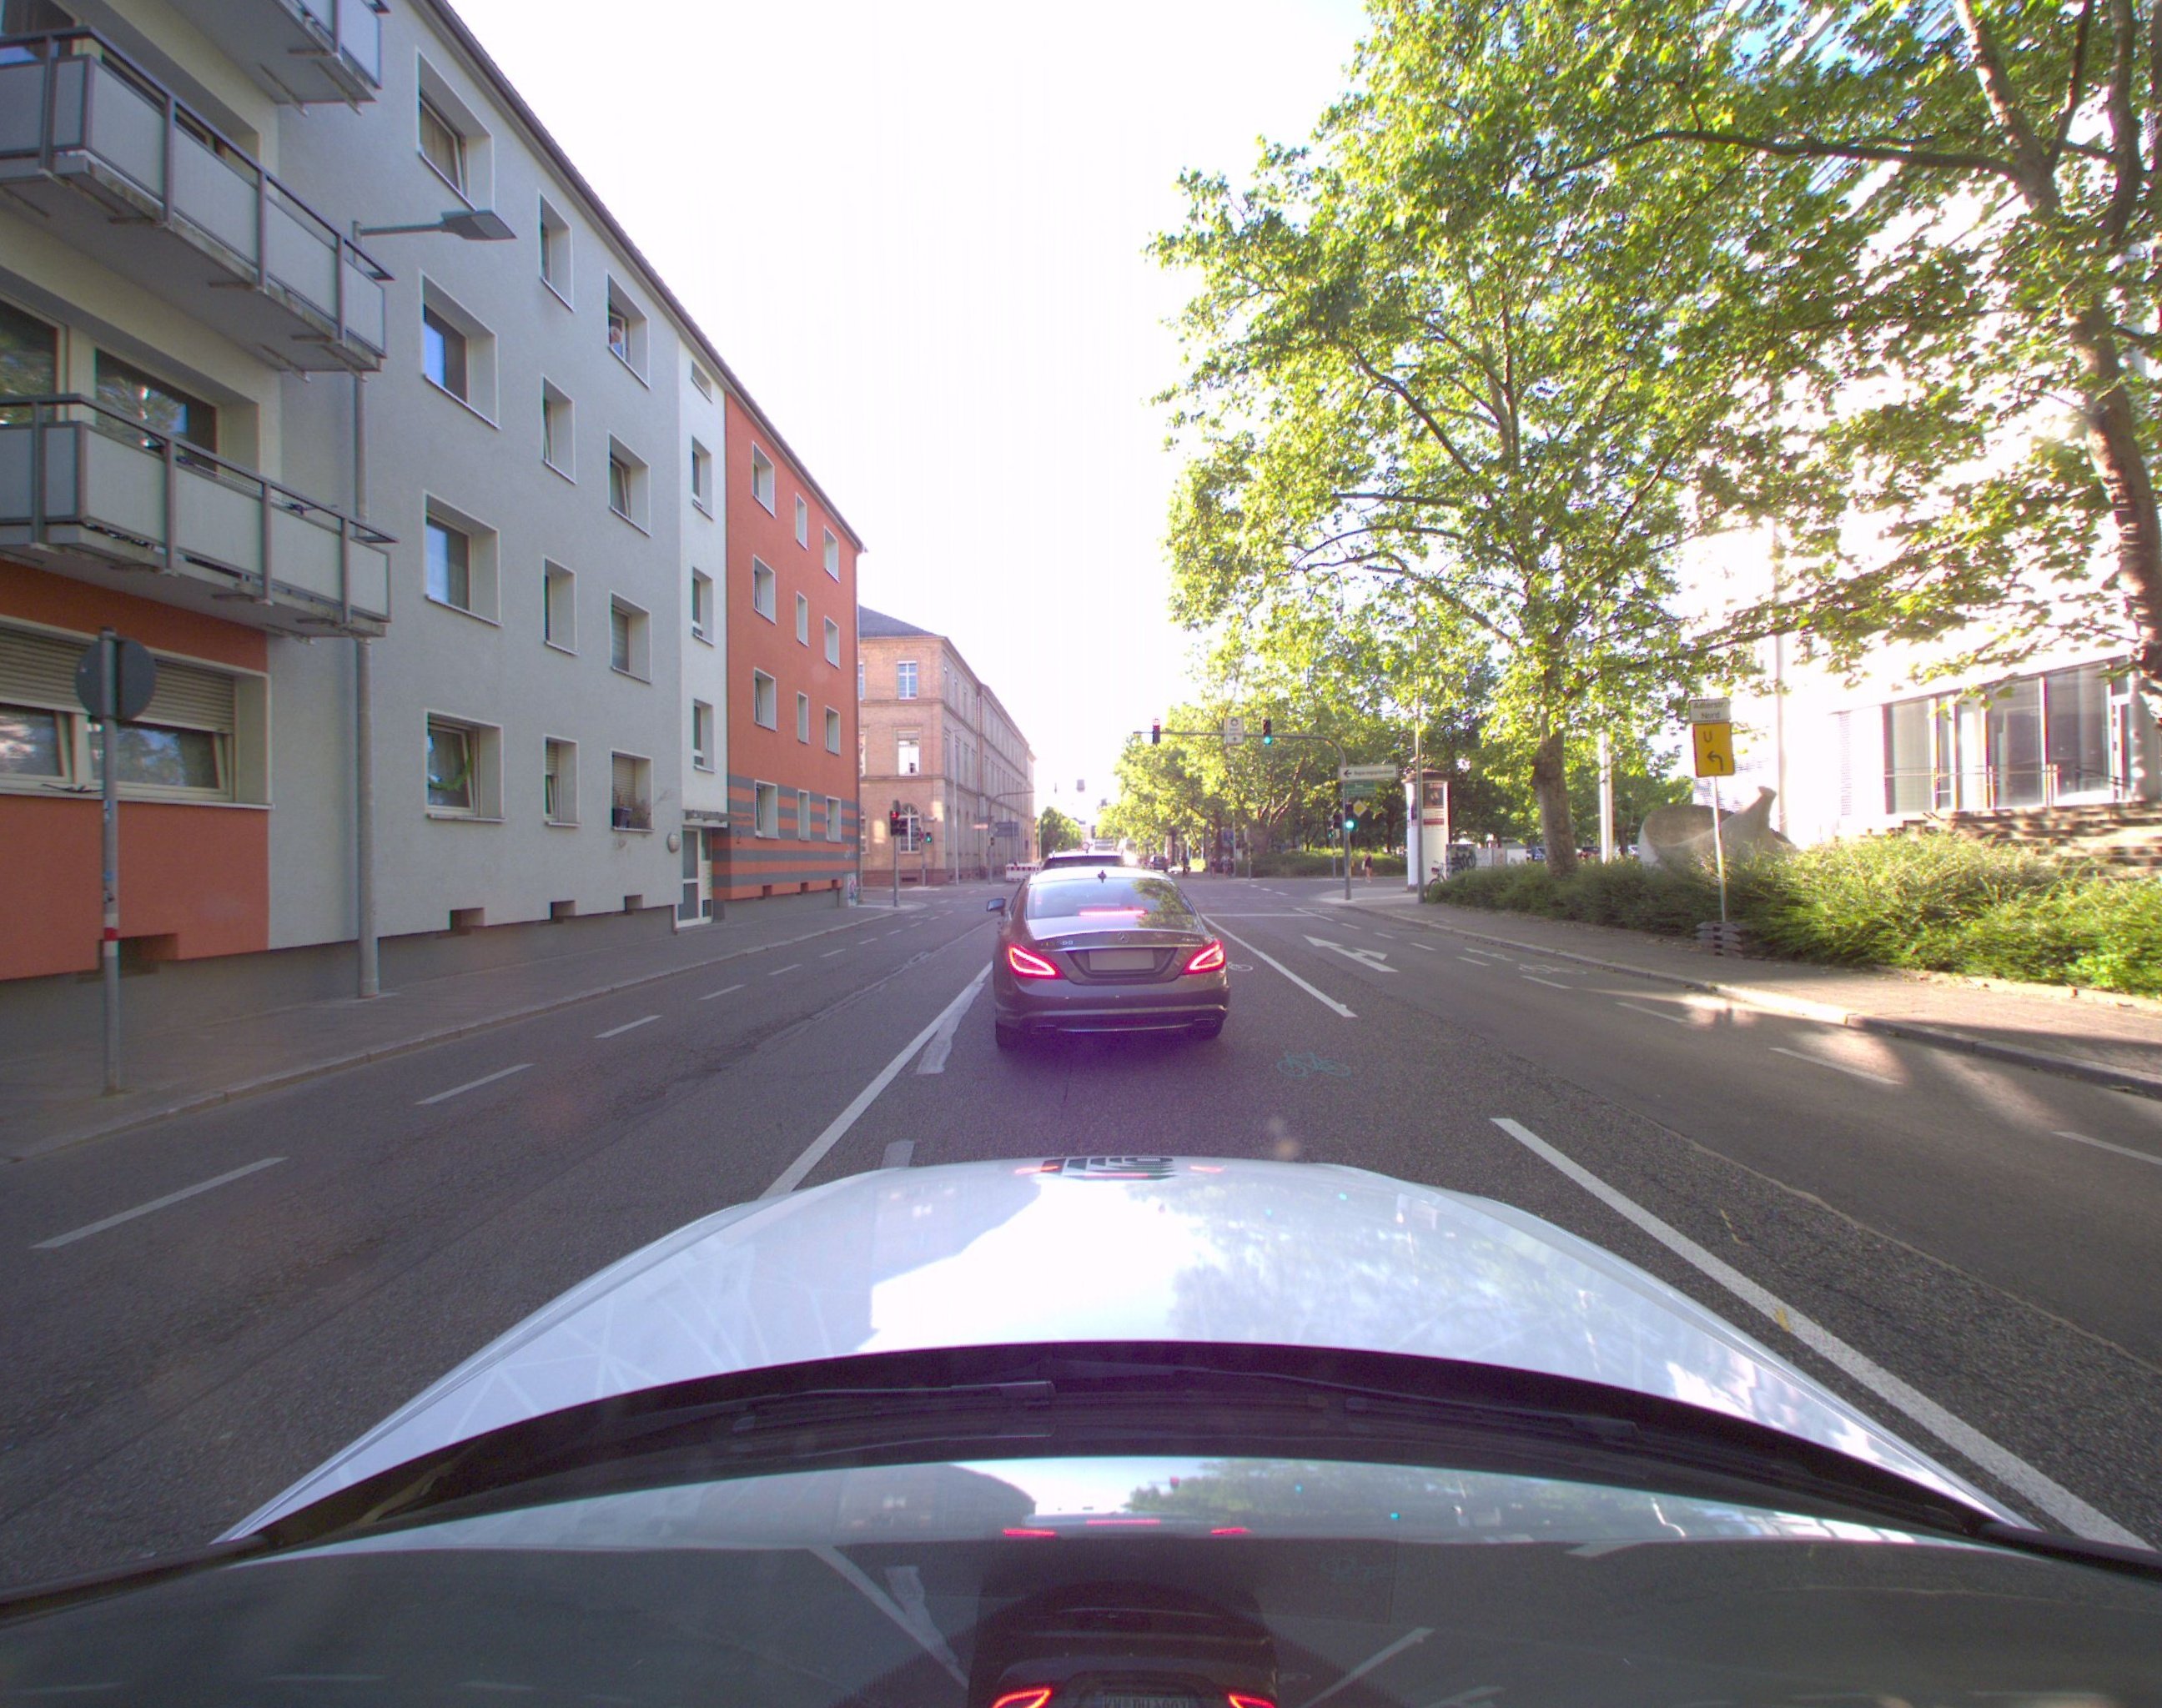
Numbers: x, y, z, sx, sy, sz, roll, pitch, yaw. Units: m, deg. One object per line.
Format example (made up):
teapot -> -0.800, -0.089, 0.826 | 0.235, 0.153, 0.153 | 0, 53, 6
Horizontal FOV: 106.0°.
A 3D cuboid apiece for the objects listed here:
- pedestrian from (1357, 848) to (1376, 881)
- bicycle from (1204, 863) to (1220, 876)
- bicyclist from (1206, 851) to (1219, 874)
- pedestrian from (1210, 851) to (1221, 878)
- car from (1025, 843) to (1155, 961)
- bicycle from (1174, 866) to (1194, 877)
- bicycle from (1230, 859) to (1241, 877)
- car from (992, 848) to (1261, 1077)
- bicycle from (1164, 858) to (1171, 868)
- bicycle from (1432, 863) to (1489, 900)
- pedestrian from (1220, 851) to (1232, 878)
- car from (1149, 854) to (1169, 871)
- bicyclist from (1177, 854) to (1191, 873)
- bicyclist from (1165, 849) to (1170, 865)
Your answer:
pedestrian -> 13.620, 0.507, 38.841 | 0.633, 1.545, 0.911 | 0, -1, 3
bicycle -> 9.532, 1.098, 59.141 | 0.825, 0.924, 2.618 | 0, -1, 2
bicyclist -> 9.514, 0.594, 59.034 | 0.822, 1.618, 0.958 | 0, -1, 1
pedestrian -> 9.160, 0.701, 55.437 | 0.634, 1.797, 0.698 | 0, -1, -2
car -> 0.192, 0.695, 13.725 | 1.854, 1.682, 4.002 | -1, 0, 2
bicycle -> 7.616, 1.286, 60.023 | 0.716, 0.791, 1.940 | -1, -1, 30
bicycle -> 10.364, 0.915, 54.764 | 0.480, 1.202, 1.607 | 0, -1, 2
car -> 0.144, 0.736, 7.590 | 1.859, 1.519, 3.992 | -1, 0, -6
bicycle -> 11.143, 1.100, 104.870 | 0.590, 1.263, 1.804 | 0, -1, -3
bicycle -> 10.984, 0.783, 23.564 | 1.895, 1.028, 0.635 | 0, -1, -36
pedestrian -> 9.807, 0.716, 55.204 | 0.634, 1.760, 0.698 | 0, -1, -2
car -> 8.070, 0.857, 84.551 | 1.854, 1.764, 4.483 | -1, 0, 2
bicyclist -> 7.586, 0.719, 59.981 | 0.726, 1.398, 0.703 | -1, -1, 30
bicyclist -> 11.130, 0.378, 104.927 | 0.593, 2.039, 0.566 | 0, -1, -2
